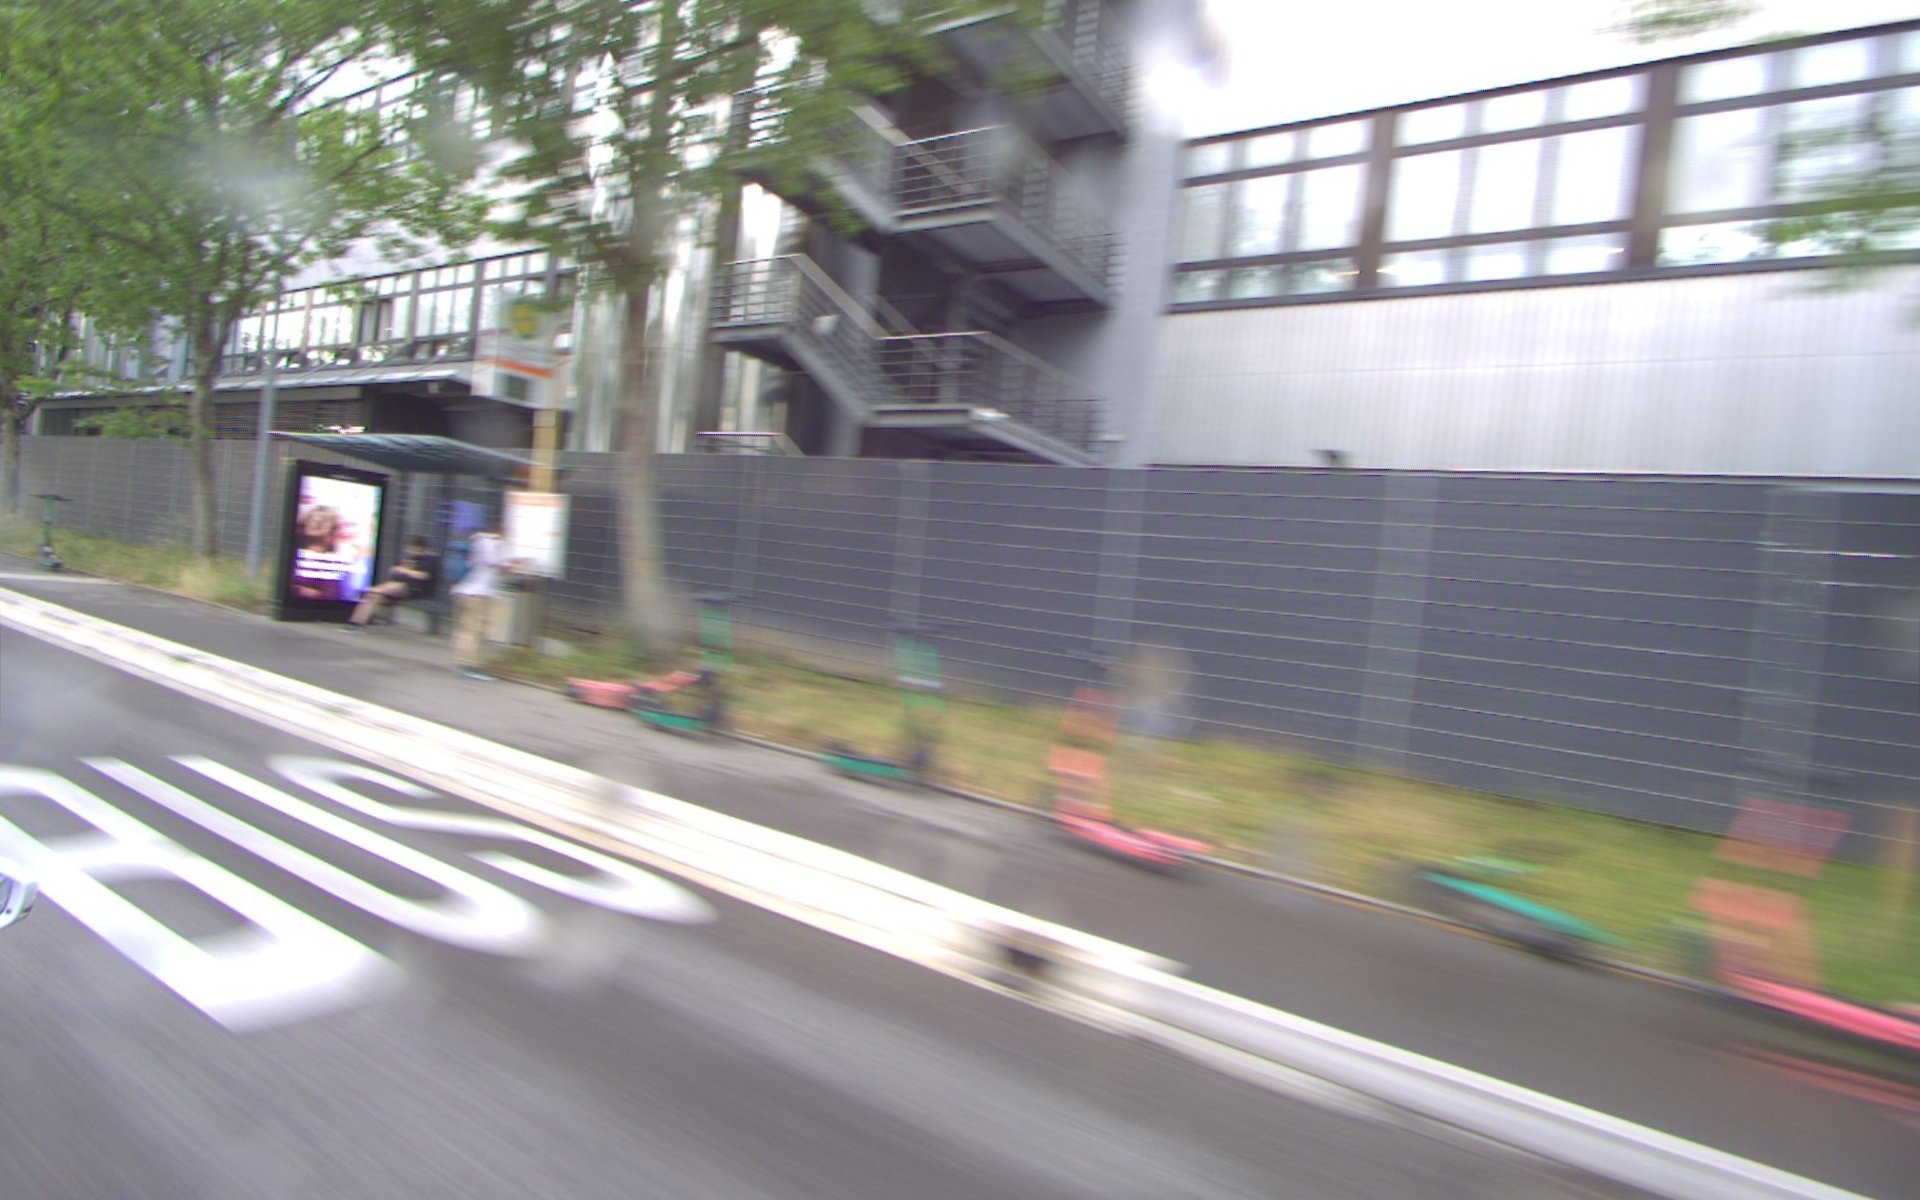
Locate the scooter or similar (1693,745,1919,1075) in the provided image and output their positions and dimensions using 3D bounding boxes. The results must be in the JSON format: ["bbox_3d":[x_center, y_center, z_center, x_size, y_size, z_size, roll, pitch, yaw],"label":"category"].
[{"bbox_3d":[4.033,1.372,4.507,1.056,1.242,0.389,7,2,33],"label":"scooter or similar"}]

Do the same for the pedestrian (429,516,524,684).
[{"bbox_3d":[-5.121,-0.002,10.661,0.651,1.688,0.481,7,2,31],"label":"pedestrian"}]

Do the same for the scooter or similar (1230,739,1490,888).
[{"bbox_3d":[2.770,1.478,7.076,1.496,0.723,0.654,7,1,1],"label":"scooter or similar"}]

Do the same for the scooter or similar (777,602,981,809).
[{"bbox_3d":[-0.633,0.753,7.597,1.410,1.309,0.475,7,2,33],"label":"scooter or similar"}]

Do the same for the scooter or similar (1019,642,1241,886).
[{"bbox_3d":[1.059,0.982,6.365,1.174,1.286,0.434,7,2,33],"label":"scooter or similar"}]

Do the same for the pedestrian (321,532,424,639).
[{"bbox_3d":[-8.052,-0.193,13.800,0.675,1.333,0.950,7,1,39],"label":"pedestrian"}]

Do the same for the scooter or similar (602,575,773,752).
[{"bbox_3d":[-2.385,0.522,8.730,1.410,1.309,0.503,7,2,33],"label":"scooter or similar"}]

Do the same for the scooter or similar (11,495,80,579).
[{"bbox_3d":[-15.612,-1.088,17.161,1.896,1.260,0.697,7,1,44],"label":"scooter or similar"}]

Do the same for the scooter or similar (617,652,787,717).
[{"bbox_3d":[-2.656,0.883,10.429,1.555,0.526,0.636,7,1,-41],"label":"scooter or similar"}]
